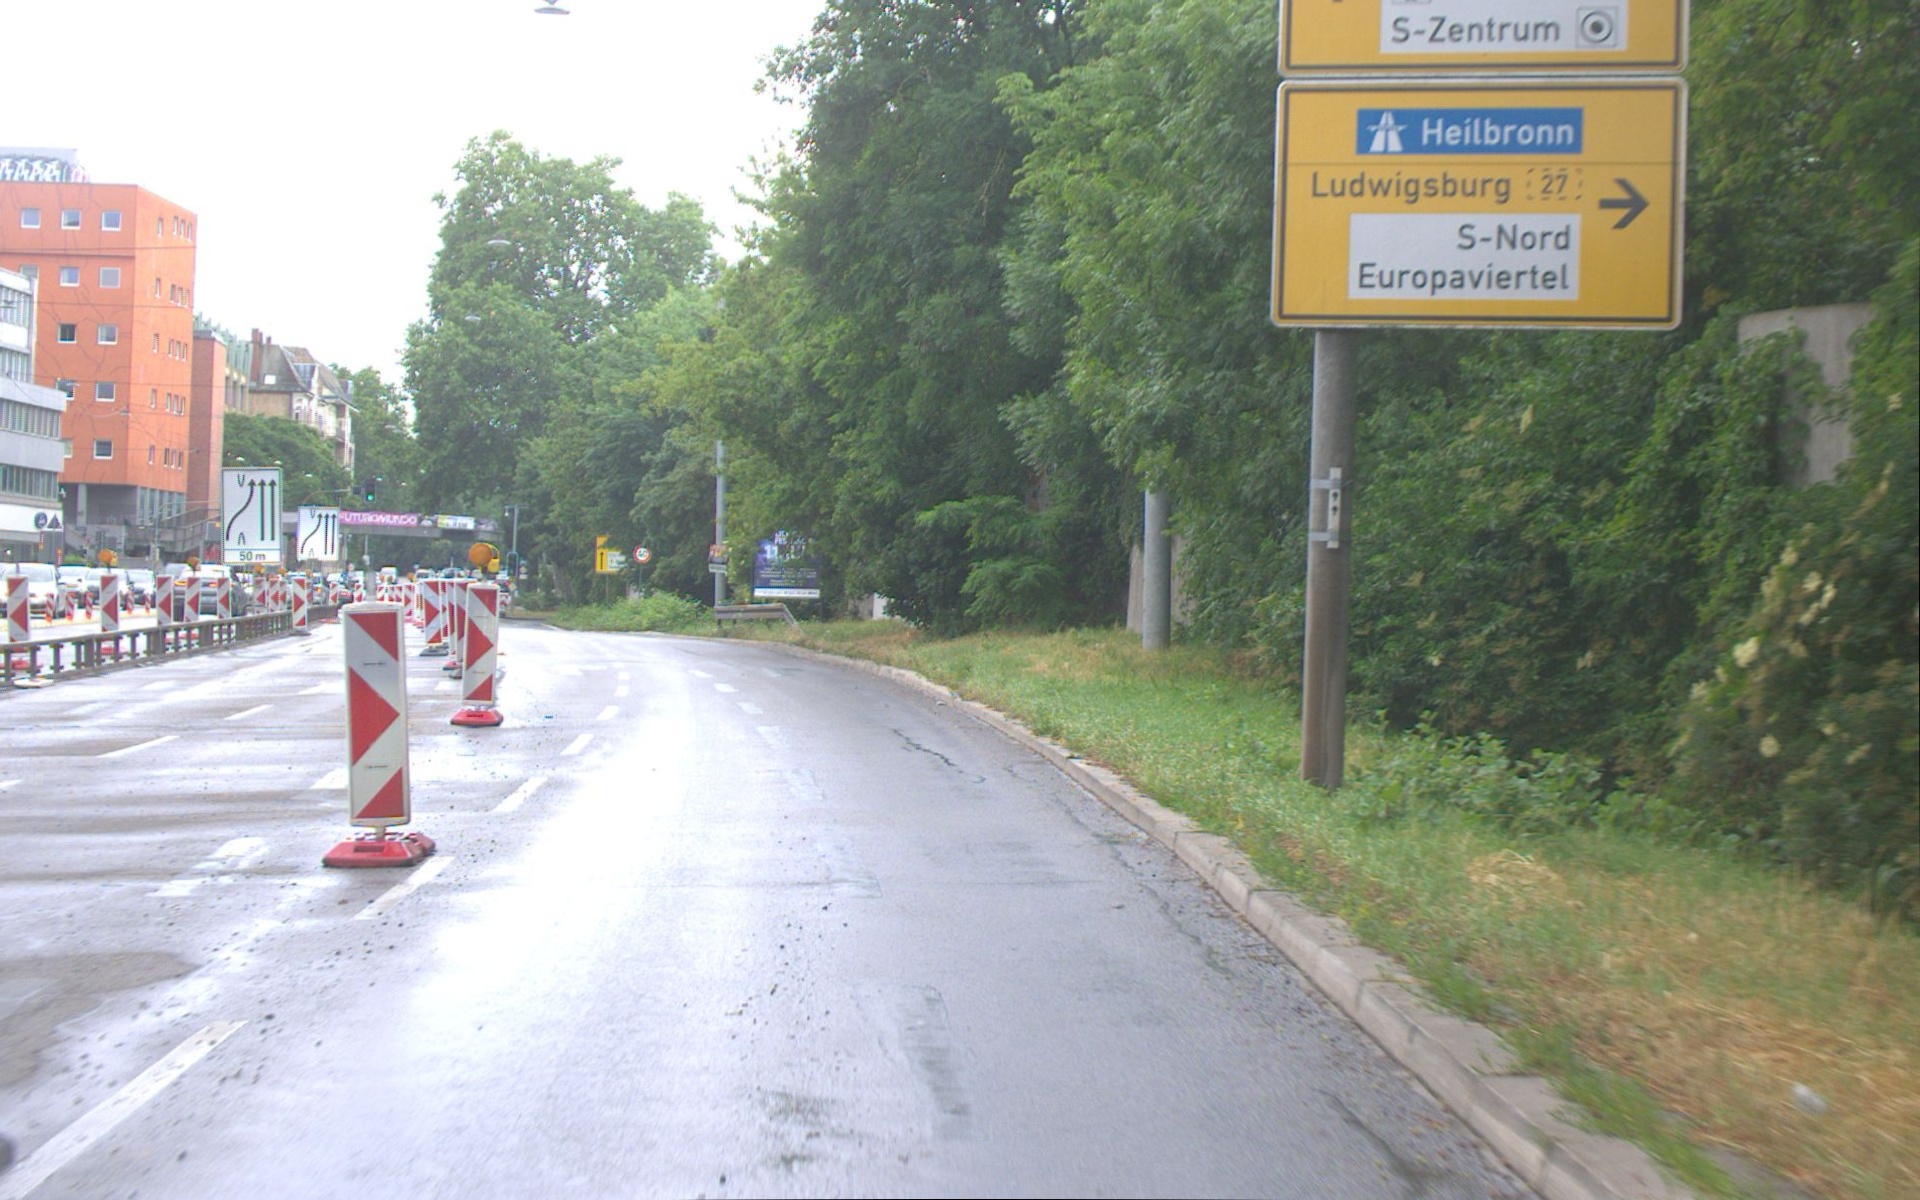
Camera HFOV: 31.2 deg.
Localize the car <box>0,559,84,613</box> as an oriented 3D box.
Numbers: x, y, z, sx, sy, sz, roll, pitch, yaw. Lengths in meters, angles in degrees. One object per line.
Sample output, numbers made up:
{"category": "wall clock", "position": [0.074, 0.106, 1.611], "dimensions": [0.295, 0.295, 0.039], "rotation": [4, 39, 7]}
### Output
{"category": "car", "position": [-24.664, -0.382, 91.991], "dimensions": [1.779, 1.376, 4.457], "rotation": [1, 1, -7]}
